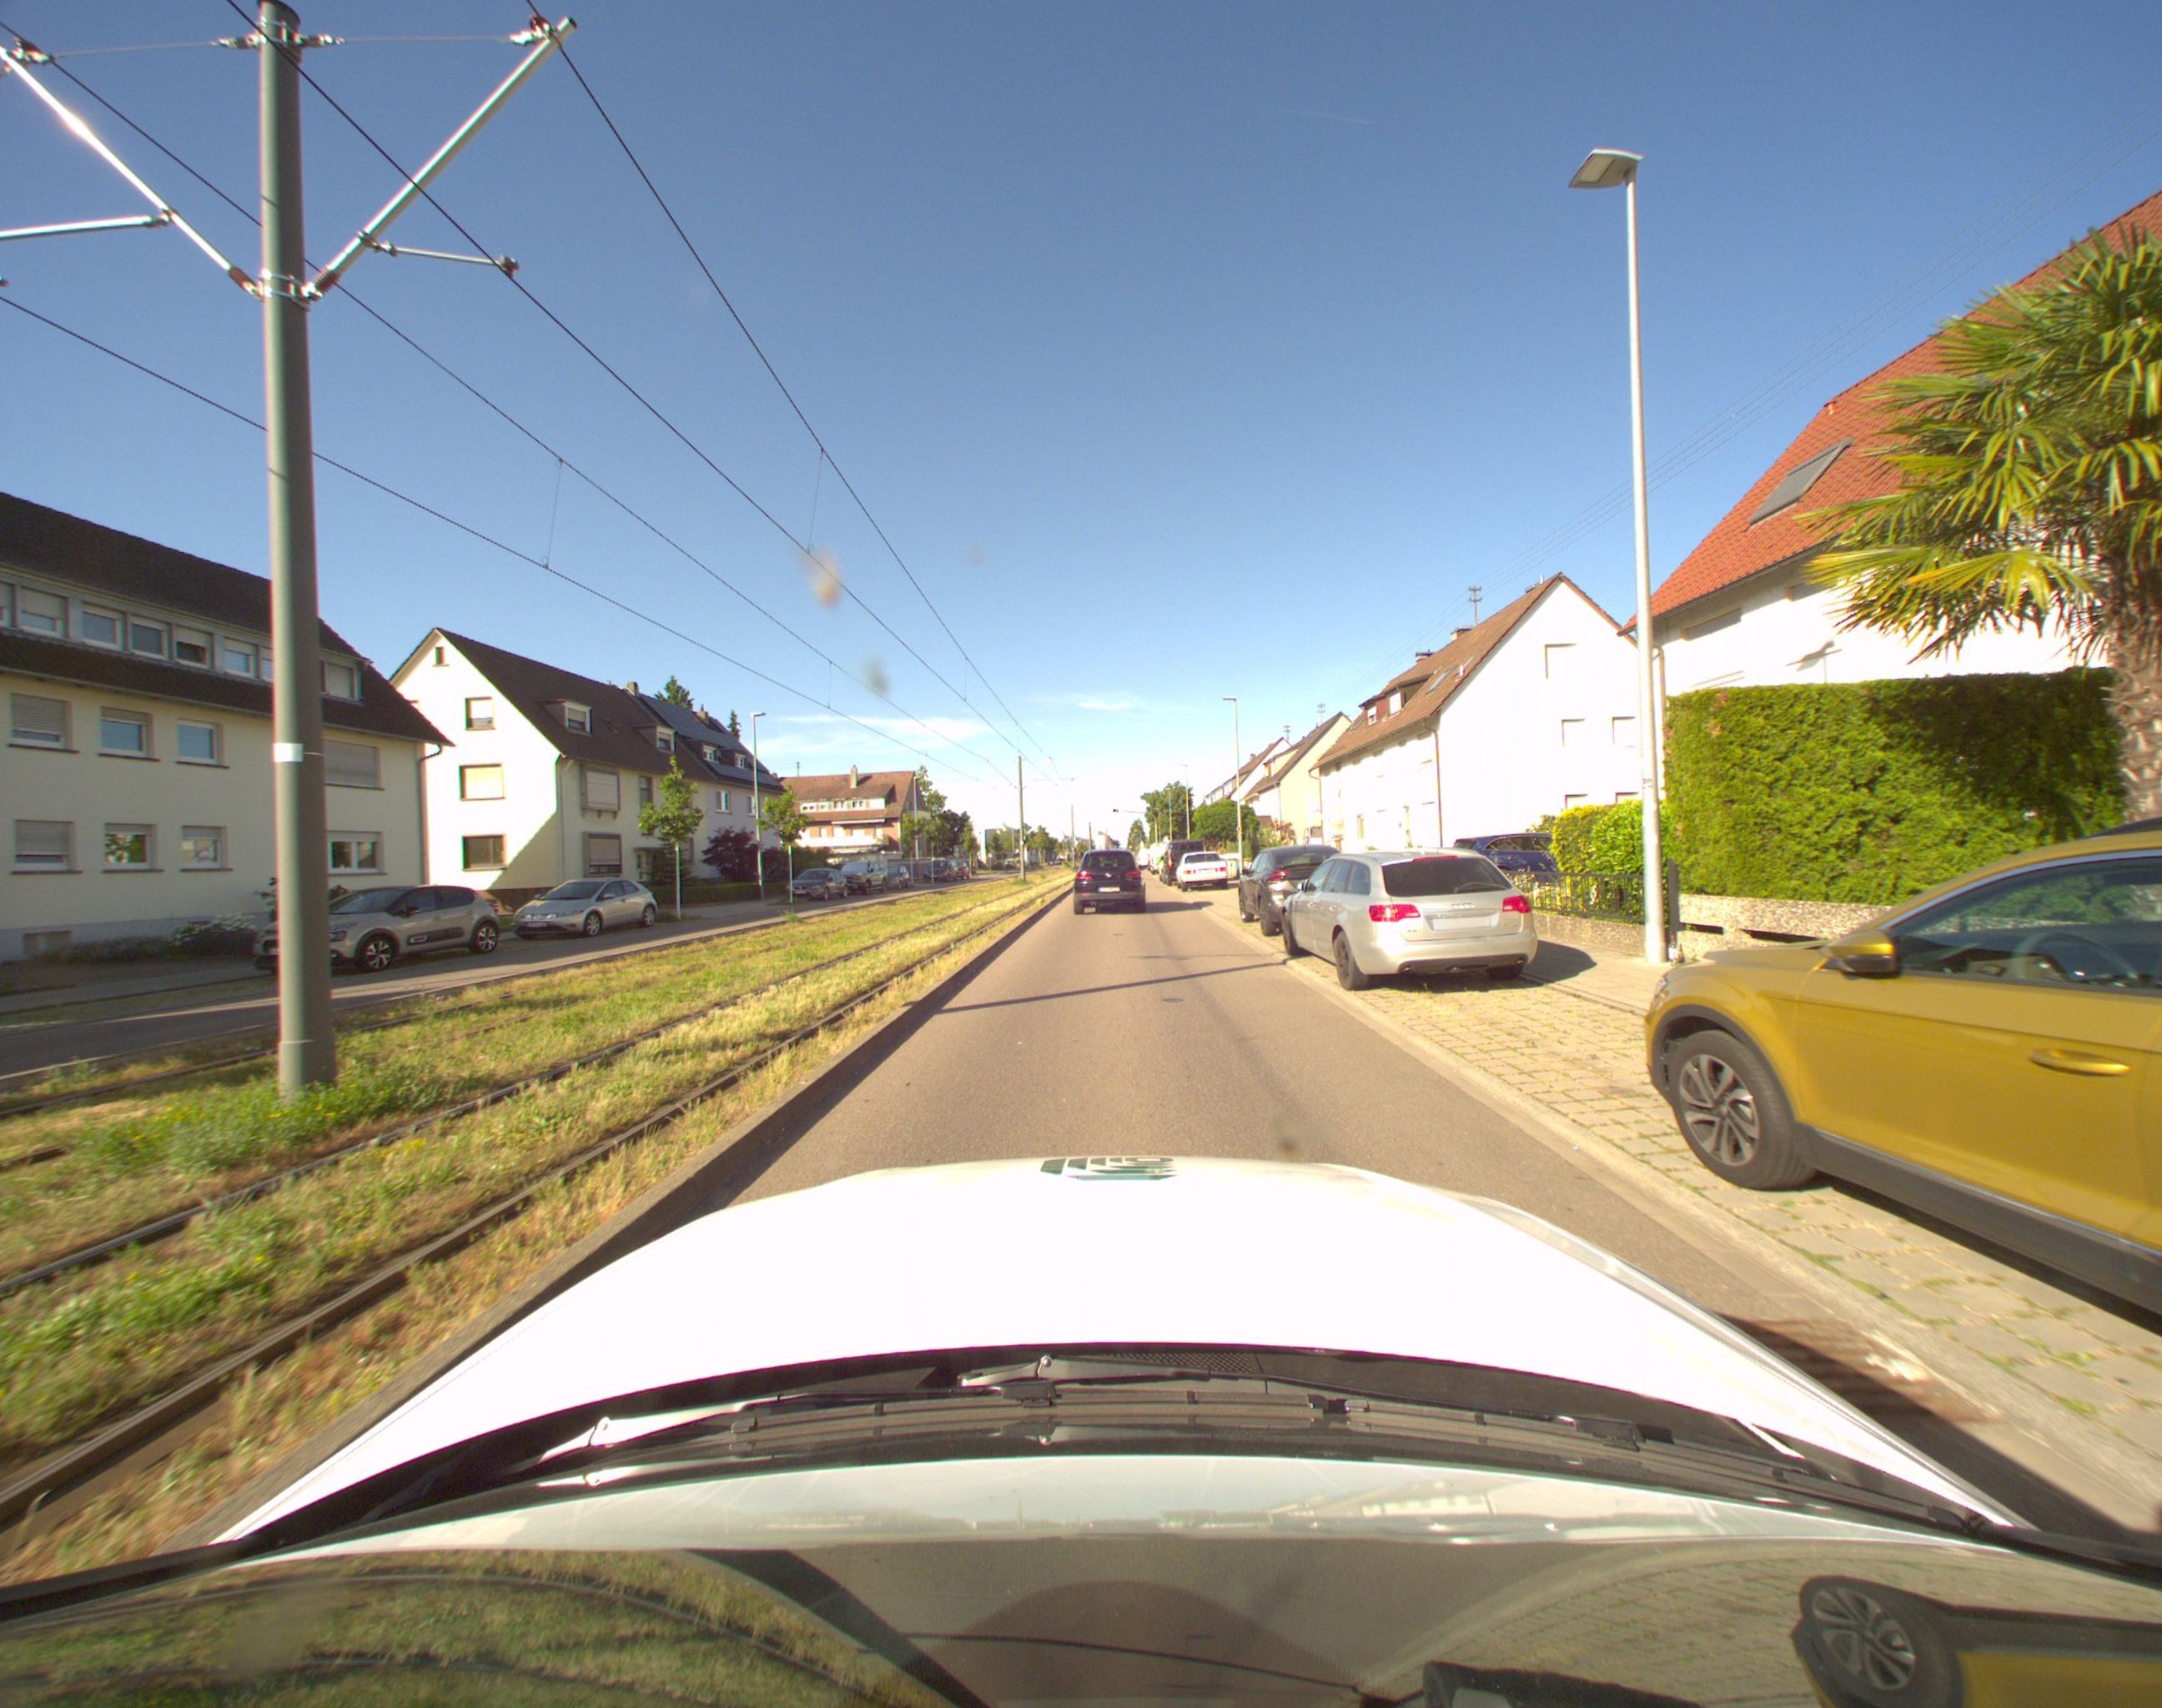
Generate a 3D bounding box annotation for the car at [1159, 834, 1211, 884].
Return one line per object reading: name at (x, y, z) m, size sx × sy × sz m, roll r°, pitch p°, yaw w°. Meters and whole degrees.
car at (4.935, 0.229, 39.217) m, size 1.952 × 2.144 × 5.339 m, roll -3°, pitch 0°, yaw 3°

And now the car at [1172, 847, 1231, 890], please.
car at (4.719, 0.530, 32.631) m, size 1.844 × 1.443 × 5.619 m, roll -4°, pitch 0°, yaw 4°

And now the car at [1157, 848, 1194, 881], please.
car at (5.251, 0.561, 45.716) m, size 1.718 × 1.645 × 4.321 m, roll -3°, pitch 0°, yaw 3°

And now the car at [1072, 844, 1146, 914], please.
car at (0.721, 0.629, 21.899) m, size 1.769 × 1.670 × 4.001 m, roll -1°, pitch -1°, yaw 1°

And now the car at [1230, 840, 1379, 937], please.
car at (4.052, 0.549, 15.575) m, size 1.770 × 1.498 × 4.732 m, roll -3°, pitch 0°, yaw 3°

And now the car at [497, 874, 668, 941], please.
car at (-12.894, 1.309, 21.434) m, size 1.682 × 1.475 × 4.443 m, roll -1°, pitch 0°, yaw 1°

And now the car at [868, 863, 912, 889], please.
car at (-11.550, 1.308, 49.477) m, size 1.670 × 1.491 × 4.050 m, roll 0°, pitch 0°, yaw 1°

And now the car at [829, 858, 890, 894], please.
car at (-11.738, 1.127, 43.489) m, size 1.738 × 1.823 × 4.845 m, roll 0°, pitch 0°, yaw 3°

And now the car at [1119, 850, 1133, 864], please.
car at (6.248, 0.436, 113.790) m, size 1.623 × 1.828 × 4.128 m, roll -3°, pitch 0°, yaw -1°

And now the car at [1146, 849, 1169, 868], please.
car at (6.760, 0.372, 72.116) m, size 1.741 × 1.494 × 5.159 m, roll -4°, pitch -1°, yaw 3°

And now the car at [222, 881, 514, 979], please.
car at (-13.125, 1.310, 15.438) m, size 1.682 × 1.473 × 4.315 m, roll -1°, pitch 0°, yaw 1°

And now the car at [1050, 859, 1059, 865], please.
car at (-6.880, 2.173, 212.074) m, size 1.680 × 1.389 × 4.393 m, roll -4°, pitch -1°, yaw 5°

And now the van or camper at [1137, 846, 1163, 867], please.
van or camper at (6.991, 0.261, 82.391) m, size 2.015 × 1.956 × 5.311 m, roll -3°, pitch 0°, yaw 11°

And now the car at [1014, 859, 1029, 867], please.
car at (-10.815, 1.627, 148.770) m, size 1.800 × 1.461 × 4.326 m, roll -1°, pitch -1°, yaw 7°

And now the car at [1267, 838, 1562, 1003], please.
car at (3.642, 0.585, 9.934) m, size 1.741 × 1.447 × 4.701 m, roll -3°, pitch 1°, yaw 2°

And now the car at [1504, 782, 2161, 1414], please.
car at (3.551, 0.559, 2.705) m, size 1.798 × 1.559 × 4.929 m, roll -3°, pitch 0°, yaw 2°

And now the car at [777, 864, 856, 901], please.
car at (-12.115, 1.278, 37.637) m, size 1.952 × 1.540 × 4.560 m, roll -1°, pitch 0°, yaw 3°

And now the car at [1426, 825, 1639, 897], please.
car at (11.769, 0.176, 21.482) m, size 4.401 × 1.655 × 2.196 m, roll -2°, pitch -1°, yaw -1°

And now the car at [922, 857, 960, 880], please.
car at (-10.696, 1.078, 62.464) m, size 1.812 × 1.684 × 4.850 m, roll 0°, pitch 0°, yaw 3°

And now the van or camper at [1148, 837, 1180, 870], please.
van or camper at (6.199, -0.023, 61.731) m, size 1.985 × 2.271 × 6.309 m, roll -4°, pitch -1°, yaw 3°

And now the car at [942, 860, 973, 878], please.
car at (-10.406, 1.246, 68.614) m, size 1.688 × 1.405 × 4.082 m, roll -3°, pitch 0°, yaw 3°
